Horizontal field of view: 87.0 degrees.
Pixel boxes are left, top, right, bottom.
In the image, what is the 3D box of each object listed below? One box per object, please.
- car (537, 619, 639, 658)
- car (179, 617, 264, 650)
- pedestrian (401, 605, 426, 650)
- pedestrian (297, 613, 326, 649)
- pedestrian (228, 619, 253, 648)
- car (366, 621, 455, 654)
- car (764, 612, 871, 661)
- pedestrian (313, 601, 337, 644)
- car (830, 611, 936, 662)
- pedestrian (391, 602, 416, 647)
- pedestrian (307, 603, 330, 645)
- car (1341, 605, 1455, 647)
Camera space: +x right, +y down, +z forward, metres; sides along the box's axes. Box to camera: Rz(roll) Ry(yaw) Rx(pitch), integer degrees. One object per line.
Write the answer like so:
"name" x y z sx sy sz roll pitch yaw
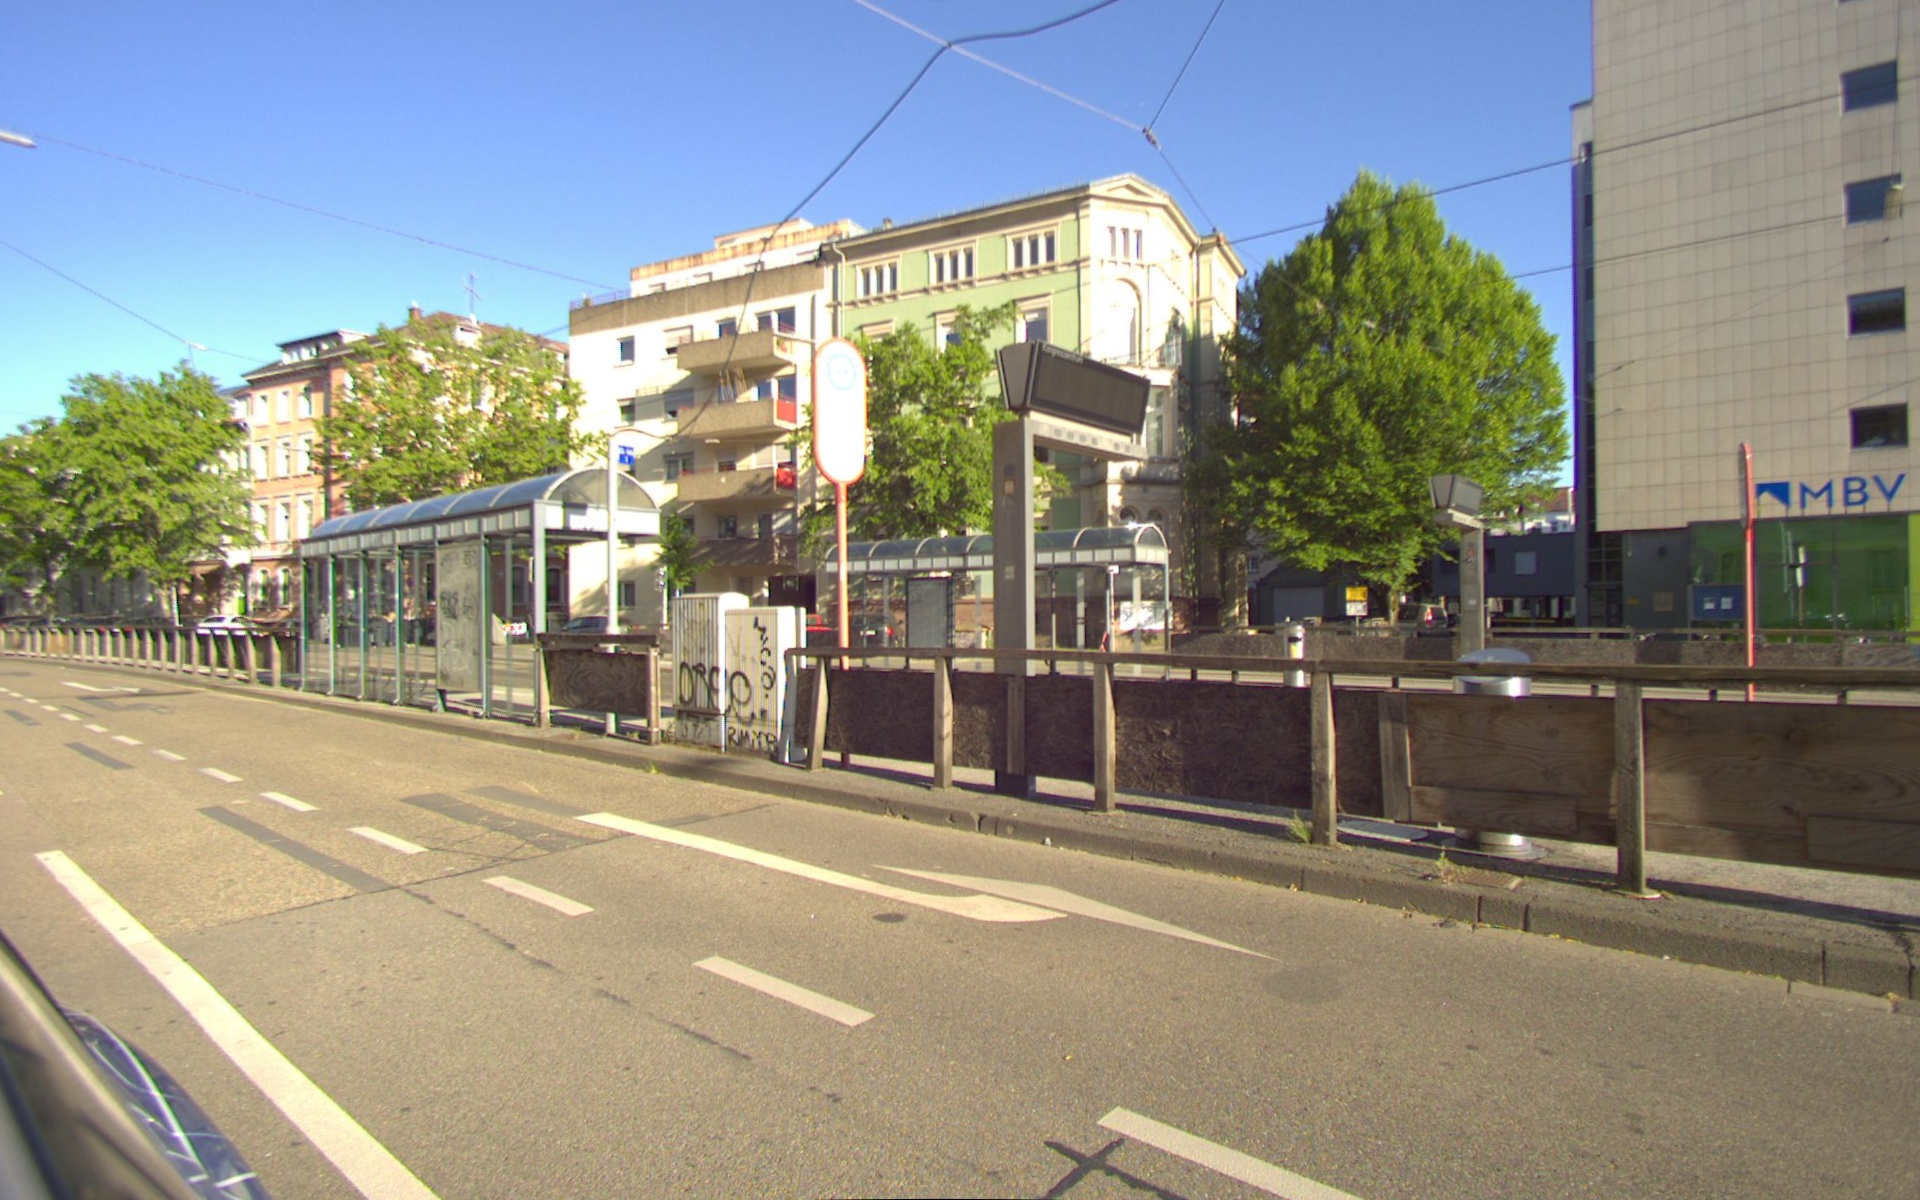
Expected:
"car" -14.209 1.444 38.642 3.725 1.438 1.637 -1 -1 29
"car" -39.504 1.780 54.262 1.825 1.721 4.130 0 -1 -5
"pedestrian" -27.092 1.345 50.214 0.753 2.224 0.804 -1 -2 30
"pedestrian" -32.154 1.526 50.172 1.016 1.733 0.846 -1 -2 32
"pedestrian" -41.397 1.899 58.235 0.887 1.641 0.861 -1 -2 25
"car" -23.728 1.599 43.686 3.986 1.407 1.592 -1 -2 32
"car" -4.797 1.222 34.667 1.754 1.594 3.965 -1 -1 26
"pedestrian" -33.117 1.163 52.790 0.753 2.224 0.804 -1 -2 30
"car" -2.483 1.182 33.569 1.754 1.594 3.965 -1 -1 26
"pedestrian" -27.849 1.209 50.673 0.753 2.224 0.804 -1 -2 30
"pedestrian" -34.118 1.291 53.863 0.755 2.224 0.803 -1 -2 36
"car" 15.736 0.899 36.489 1.544 1.423 3.430 -1 0 -38
